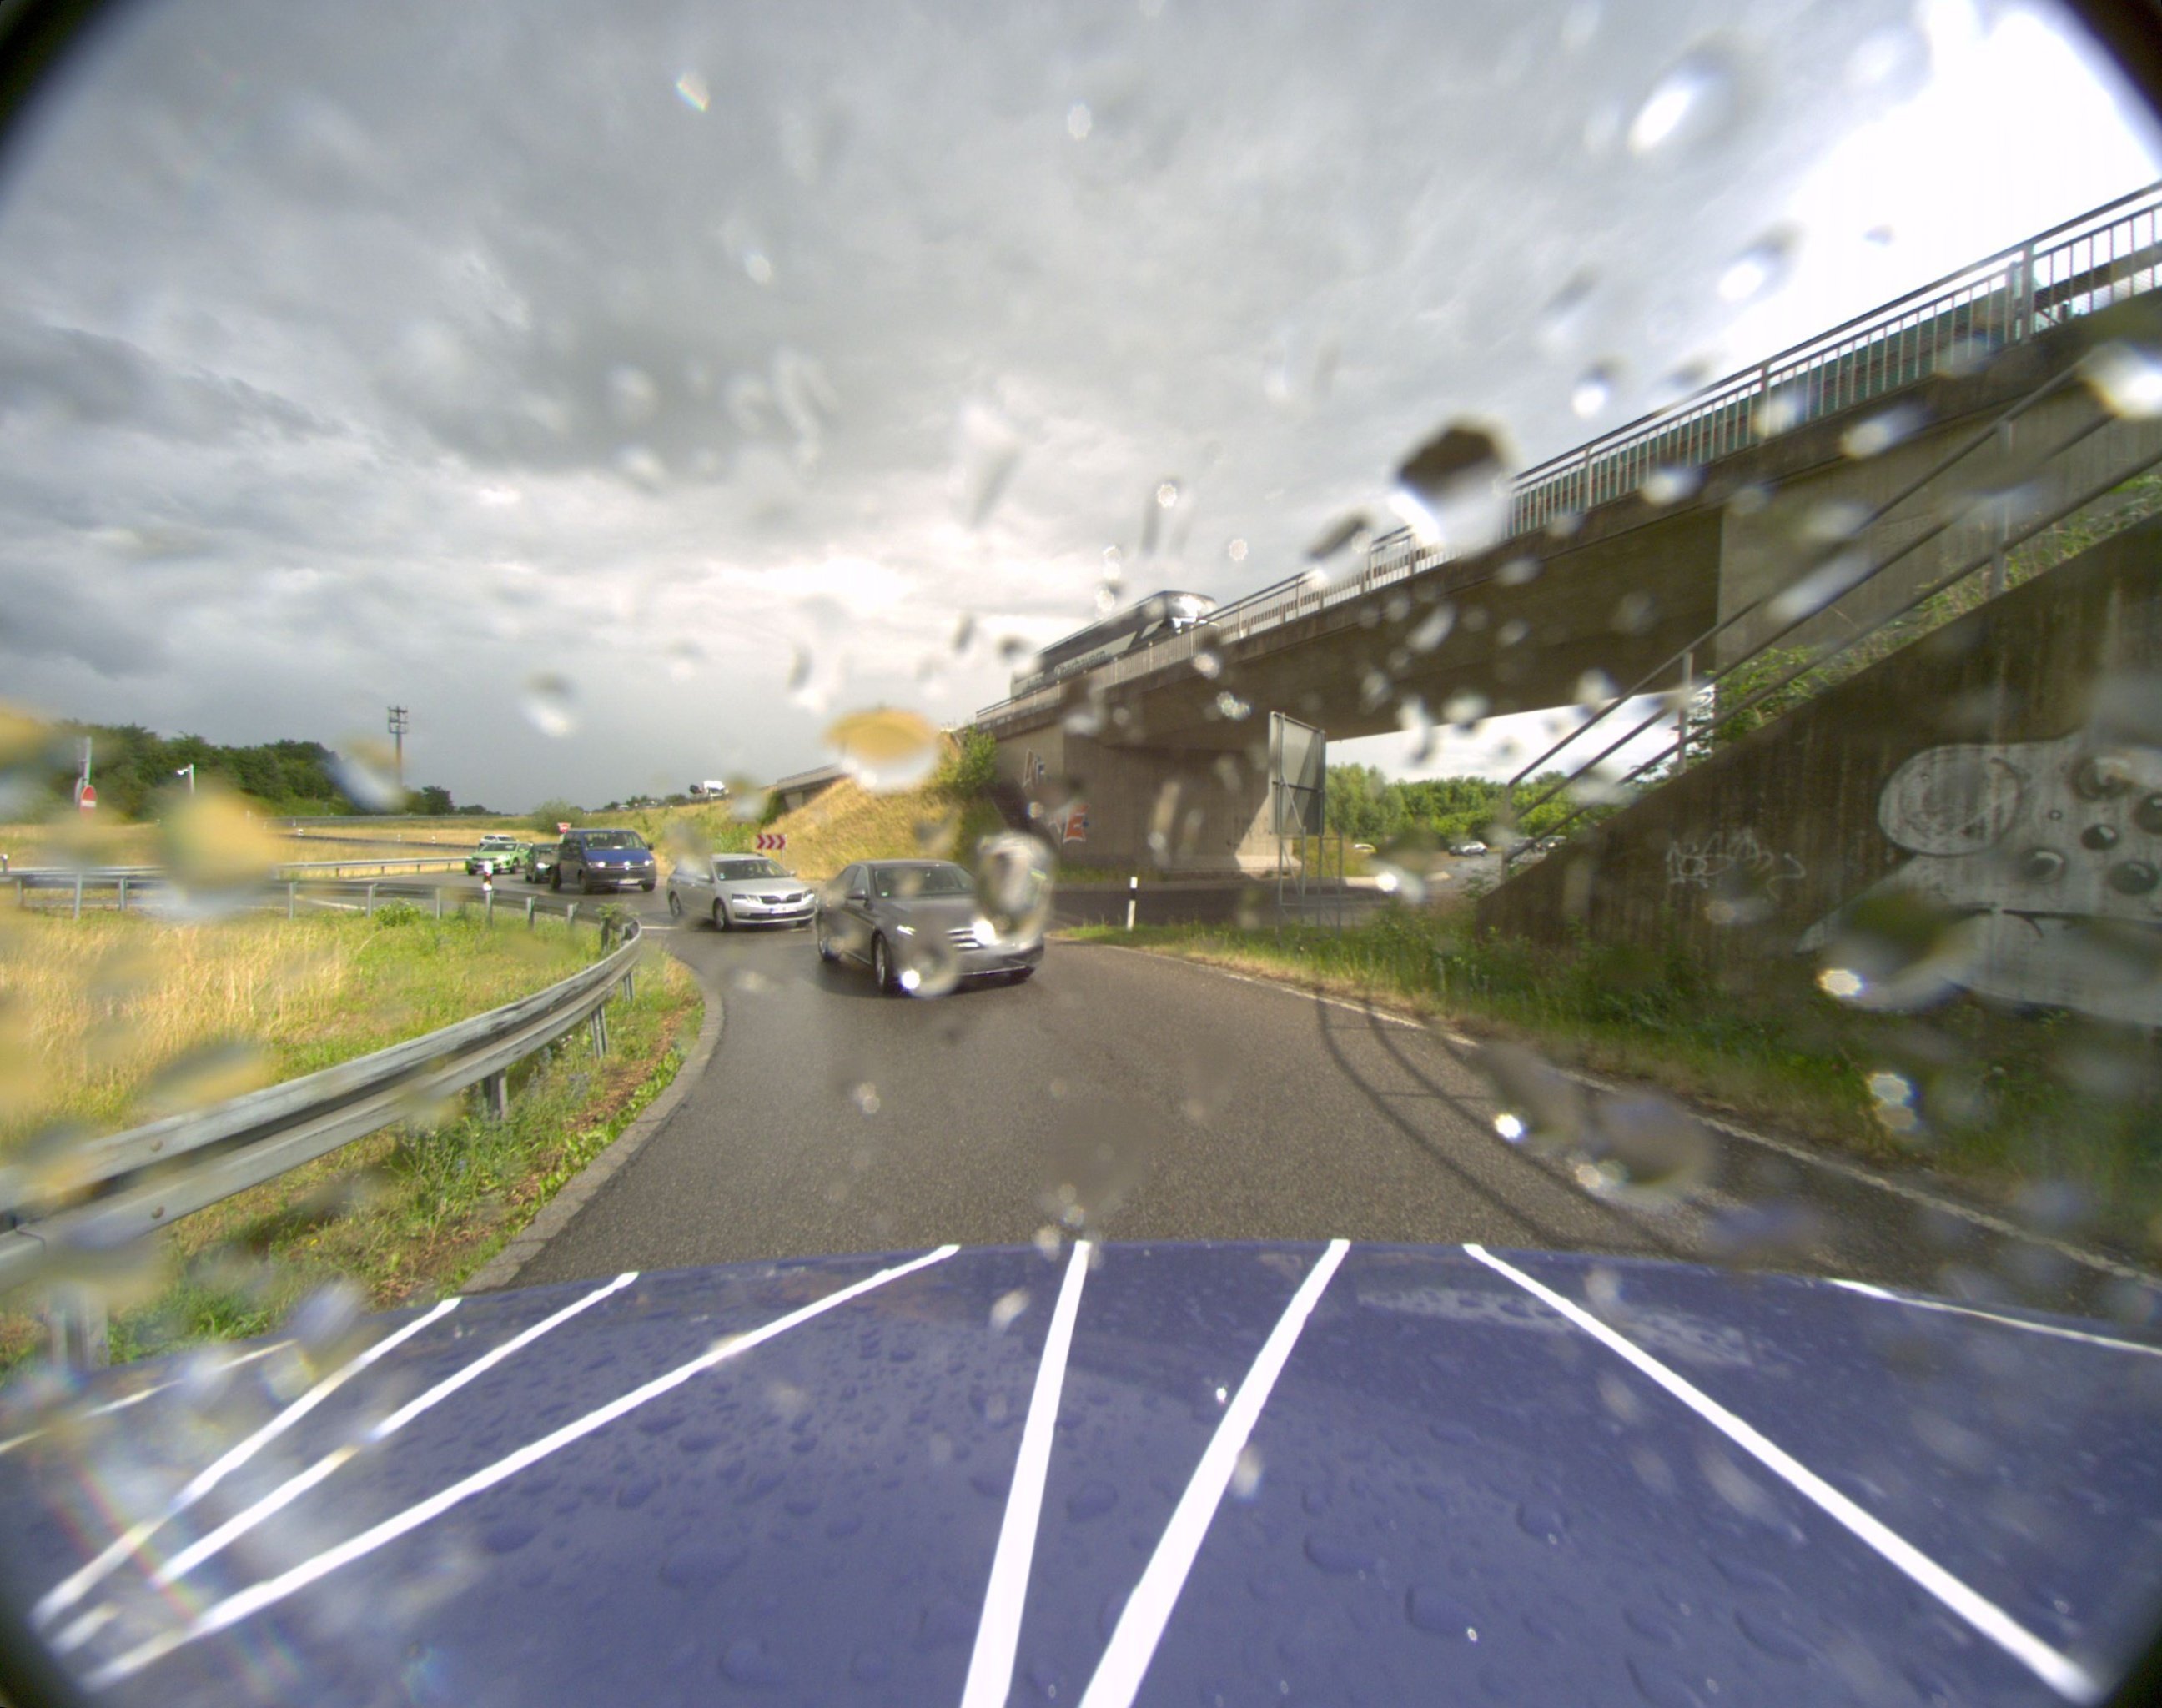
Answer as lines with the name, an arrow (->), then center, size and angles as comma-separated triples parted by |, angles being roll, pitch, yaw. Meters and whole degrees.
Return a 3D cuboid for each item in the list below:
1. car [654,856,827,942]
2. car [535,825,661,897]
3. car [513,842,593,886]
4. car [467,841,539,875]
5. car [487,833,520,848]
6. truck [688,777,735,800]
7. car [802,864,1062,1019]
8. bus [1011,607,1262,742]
car -> -7.151, 0.812, 15.740 | 4.336, 1.390, 1.802 | 1, 3, 45
car -> -15.099, 0.115, 23.604 | 5.664, 1.904, 1.897 | 3, 3, 43
car -> -19.575, 0.321, 28.116 | 3.834, 1.466, 1.661 | 2, 3, 44
car -> -26.819, 0.142, 35.381 | 1.620, 1.466, 3.838 | 0, 2, -21
car -> -51.116, -1.248, 67.213 | 3.762, 1.283, 1.715 | 2, 2, 44
truck -> -57.542, -10.164, 118.217 | 9.250, 3.177, 3.167 | 2, 4, 42
car -> -2.182, 0.894, 9.866 | 1.774, 1.383, 4.579 | -1, 1, -32
bus -> 1.470, -7.018, 32.254 | 2.617, 3.063, 14.423 | -2, 3, -32
